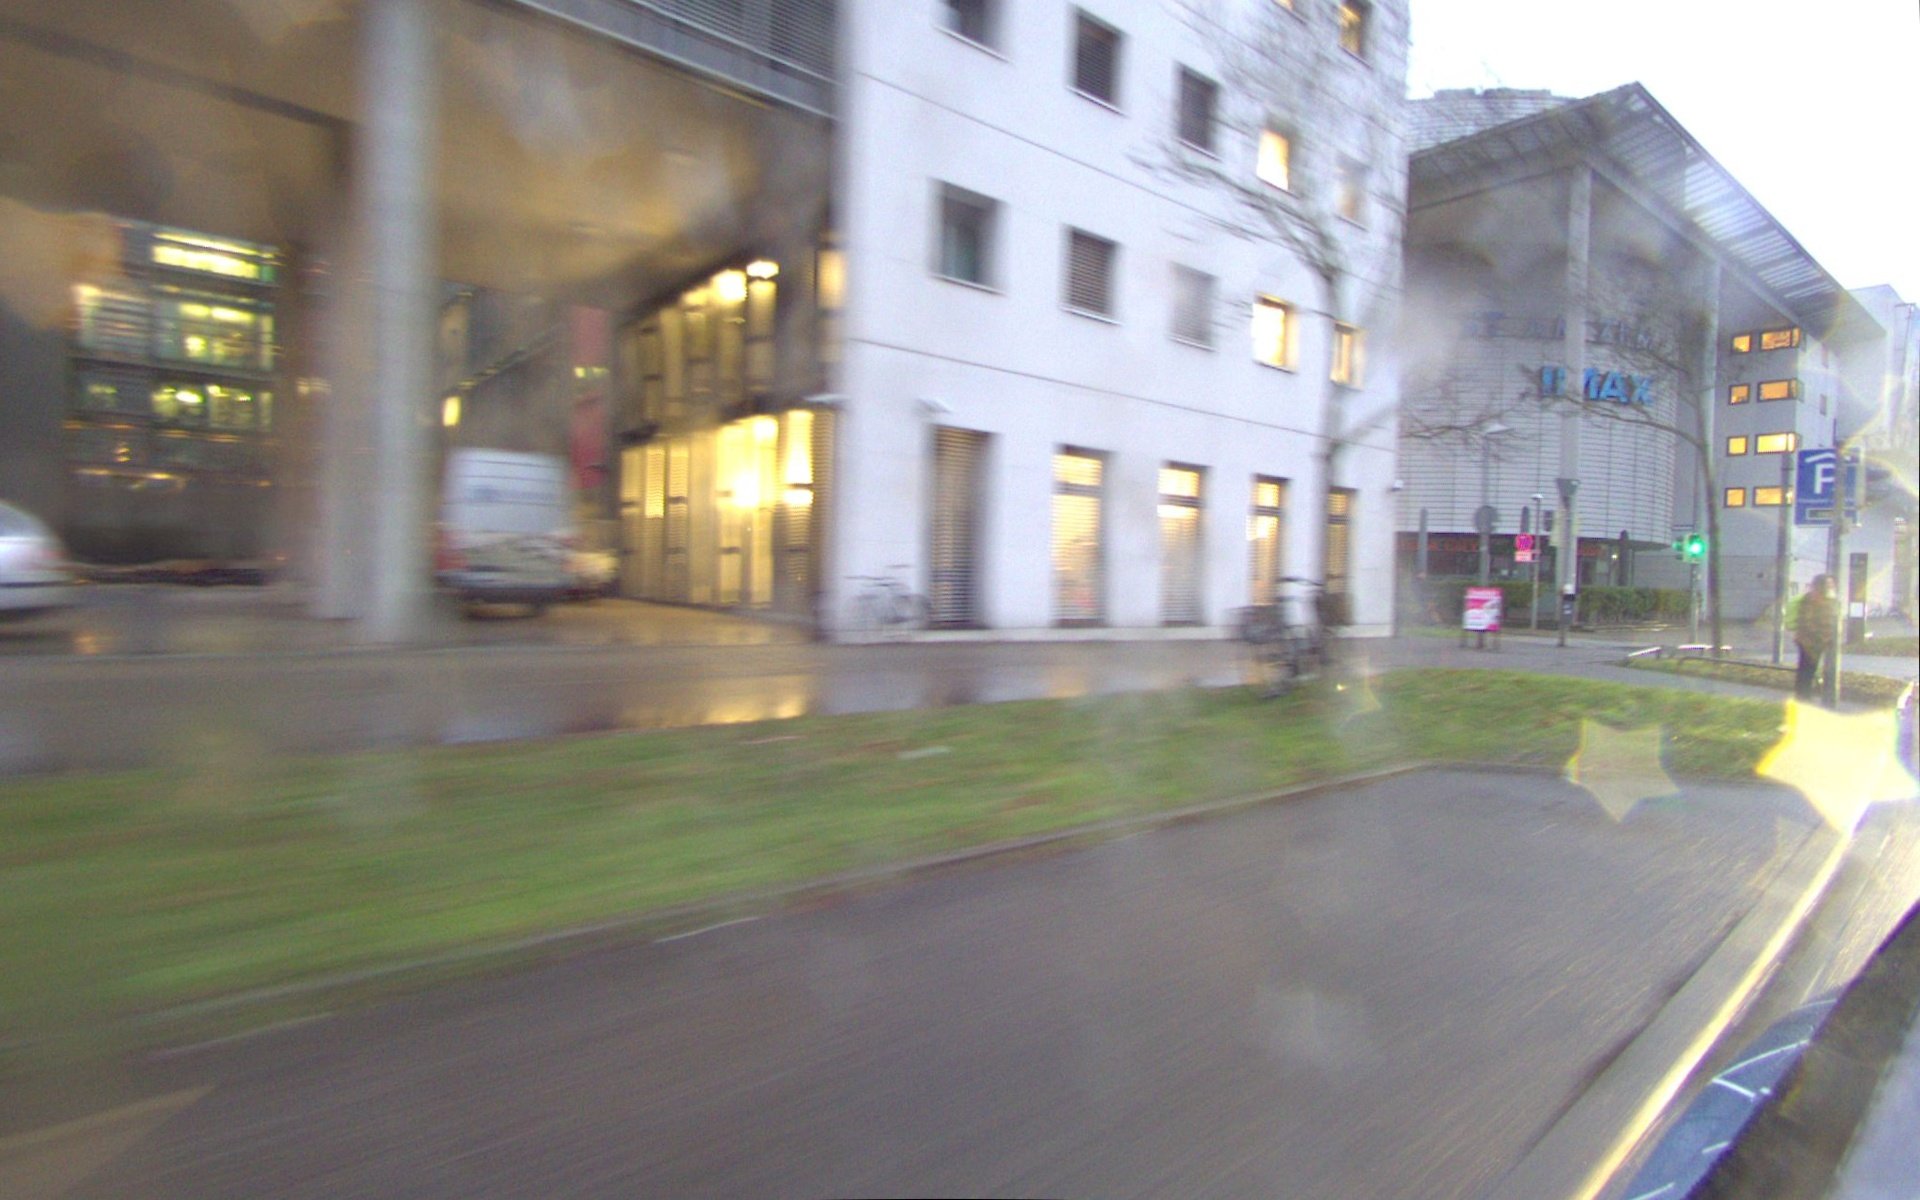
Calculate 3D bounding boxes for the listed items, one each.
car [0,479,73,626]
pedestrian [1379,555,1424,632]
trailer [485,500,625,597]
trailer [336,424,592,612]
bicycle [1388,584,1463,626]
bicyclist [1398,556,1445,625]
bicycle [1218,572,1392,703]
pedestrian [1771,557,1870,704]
[{"bbox_3d":[-10.876,-0.424,9.021,4.453,1.388,1.634,-1,1,-42],"label":"car"},{"bbox_3d":[10.338,-0.149,23.679,0.691,1.757,0.738,-1,0,-42],"label":"pedestrian"},{"bbox_3d":[-9.214,-1.127,22.858,1.857,1.974,3.997,0,1,-38],"label":"trailer"},{"bbox_3d":[-8.606,-1.255,17.159,2.172,2.613,6.266,1,2,-43],"label":"trailer"},{"bbox_3d":[12.851,0.129,28.016,0.836,1.105,1.872,3,0,-16],"label":"bicycle"},{"bbox_3d":[12.780,-0.251,28.024,0.822,1.845,0.733,3,-1,-17],"label":"bicyclist"},{"bbox_3d":[3.373,0.307,9.782,2.128,1.129,0.552,-1,3,-40],"label":"bicycle"},{"bbox_3d":[11.389,0.367,13.404,0.687,1.829,0.772,-1,6,-42],"label":"pedestrian"}]
